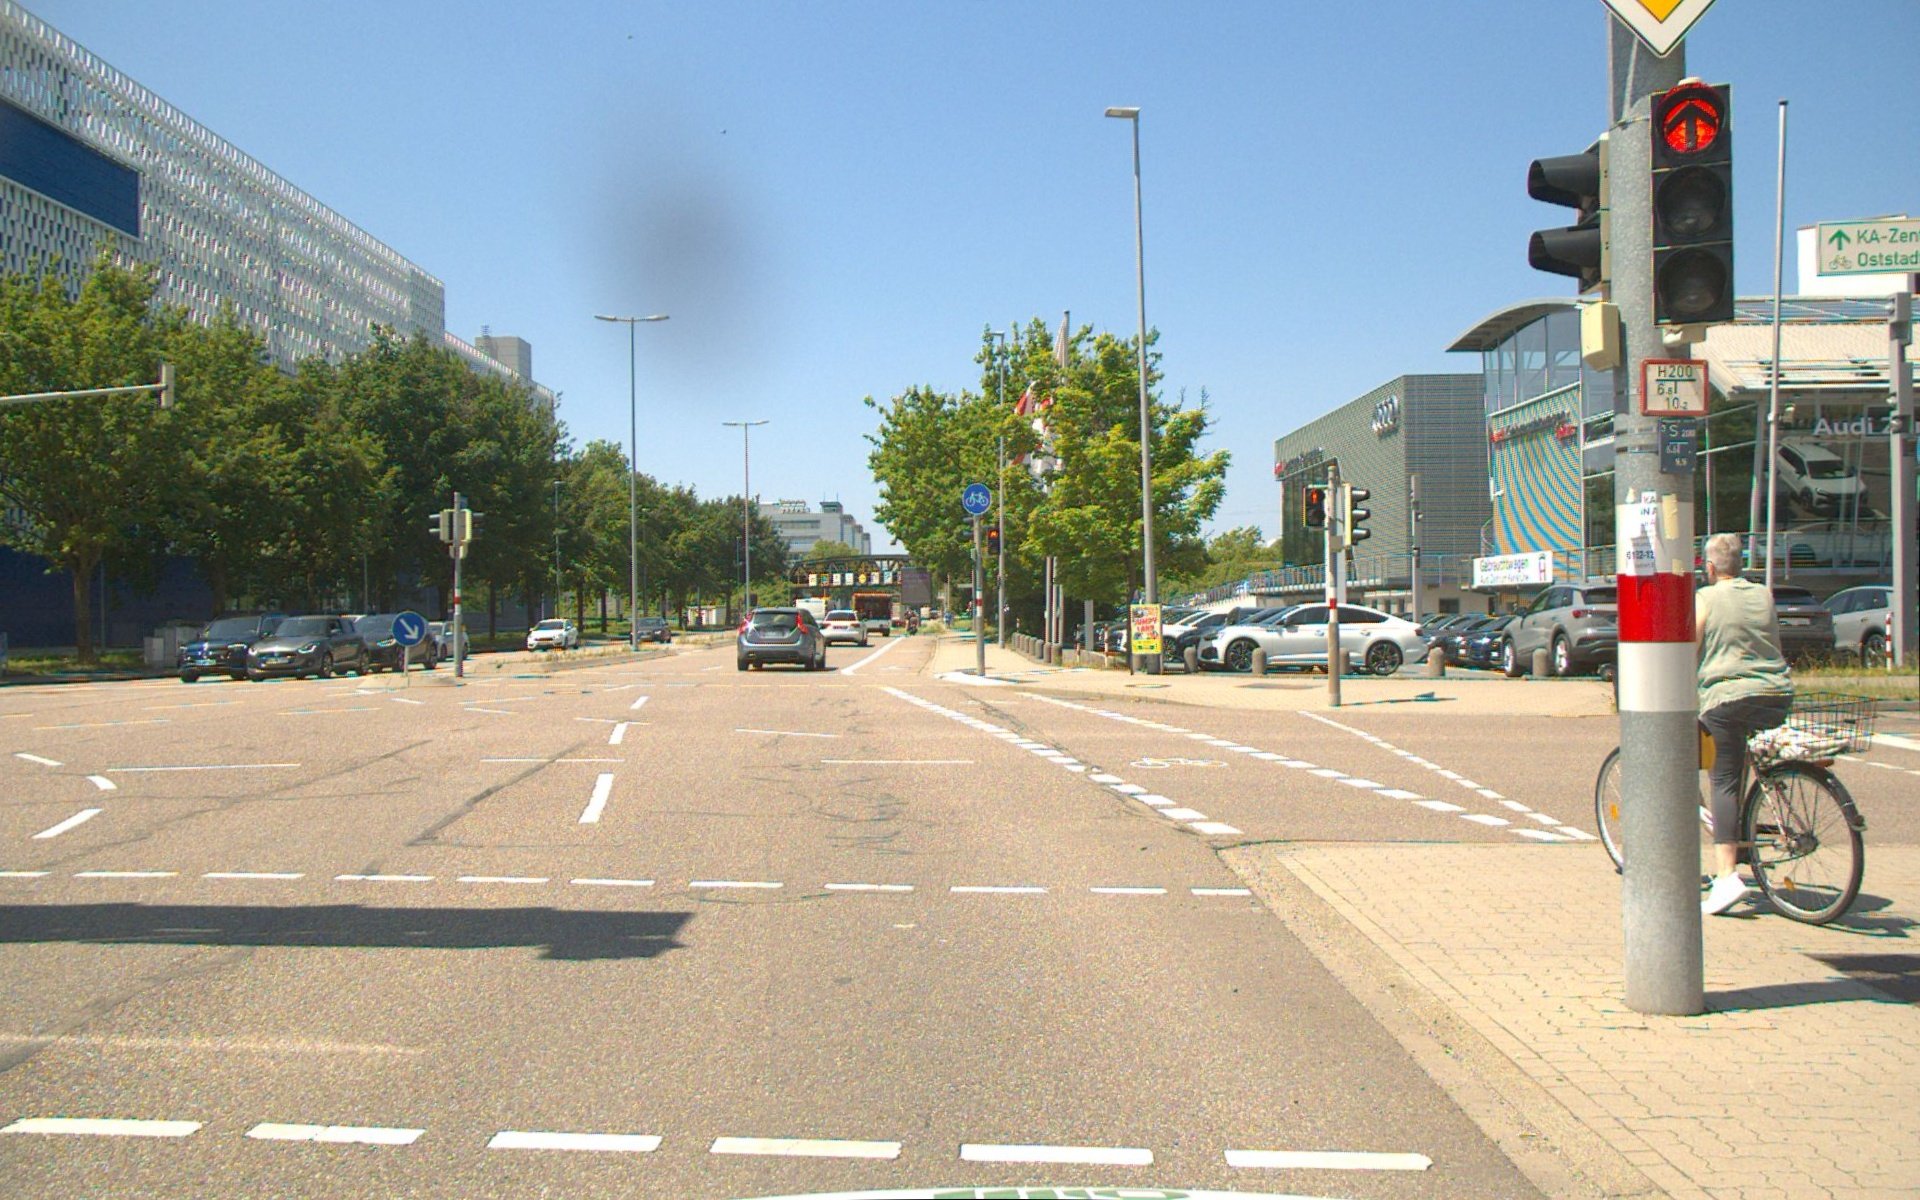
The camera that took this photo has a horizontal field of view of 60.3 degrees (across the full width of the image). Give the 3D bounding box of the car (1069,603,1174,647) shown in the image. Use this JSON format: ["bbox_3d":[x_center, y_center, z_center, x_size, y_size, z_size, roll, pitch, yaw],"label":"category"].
[{"bbox_3d":[5.854,0.907,60.366,3.607,1.479,1.833,2,-1,-1],"label":"car"}]

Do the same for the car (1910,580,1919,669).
[{"bbox_3d":[18.688,0.479,29.038,1.604,1.644,3.814,0,1,-5],"label":"car"}]

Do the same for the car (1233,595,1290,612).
[{"bbox_3d":[21.337,0.231,117.008,3.652,1.150,1.682,1,-1,-5],"label":"car"}]

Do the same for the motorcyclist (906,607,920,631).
[{"bbox_3d":[-3.012,1.233,106.065,0.706,1.556,0.868,1,-1,-11],"label":"motorcyclist"}]

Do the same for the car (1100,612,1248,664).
[{"bbox_3d":[6.335,1.121,49.271,4.140,1.415,1.868,2,-1,-1],"label":"car"}]

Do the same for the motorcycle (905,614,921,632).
[{"bbox_3d":[-3.011,1.450,106.060,0.703,1.124,1.825,1,-1,-10],"label":"motorcycle"}]

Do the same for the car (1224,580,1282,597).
[{"bbox_3d":[21.399,-0.840,120.747,3.862,1.232,1.715,0,-1,-5],"label":"car"}]

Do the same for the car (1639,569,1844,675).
[{"bbox_3d":[13.618,0.377,29.076,1.806,1.683,3.999,2,-1,2],"label":"car"}]

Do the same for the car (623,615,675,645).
[{"bbox_3d":[-16.460,1.562,87.794,1.691,1.471,4.720,-3,-1,2],"label":"car"}]

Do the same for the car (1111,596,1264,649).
[{"bbox_3d":[6.363,0.627,46.587,4.016,1.372,1.868,2,-1,-1],"label":"car"}]

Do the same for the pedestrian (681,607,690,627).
[{"bbox_3d":[-25.777,1.599,155.160,0.728,1.917,0.577,-1,-1,0],"label":"pedestrian"}]

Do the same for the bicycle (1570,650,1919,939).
[{"bbox_3d":[3.722,0.862,8.032,0.616,1.153,1.892,0,1,-7],"label":"bicycle"}]

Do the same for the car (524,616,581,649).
[{"bbox_3d":[-19.250,1.531,78.240,1.708,1.512,3.999,-2,-1,-1],"label":"car"}]

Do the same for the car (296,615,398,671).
[{"bbox_3d":[-18.597,1.287,50.337,1.691,1.571,3.914,-2,-1,-1],"label":"car"}]

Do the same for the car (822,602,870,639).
[{"bbox_3d":[-4.556,0.800,66.578,1.708,1.420,3.528,-1,0,-1],"label":"car"}]

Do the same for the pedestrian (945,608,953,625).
[{"bbox_3d":[-0.922,1.335,133.970,0.611,1.399,0.564,-1,-1,-3],"label":"pedestrian"}]

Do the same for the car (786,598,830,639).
[{"bbox_3d":[-7.847,0.936,85.627,1.953,2.049,3.998,-1,0,-2],"label":"car"}]

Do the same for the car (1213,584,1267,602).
[{"bbox_3d":[21.958,-0.555,129.757,3.909,1.335,1.795,1,-1,-5],"label":"car"}]

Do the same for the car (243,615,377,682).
[{"bbox_3d":[-15.088,1.112,38.588,1.610,1.413,3.715,-3,-1,0],"label":"car"}]

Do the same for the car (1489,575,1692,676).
[{"bbox_3d":[11.006,0.478,29.245,1.830,1.586,4.503,-2,-2,0],"label":"car"}]

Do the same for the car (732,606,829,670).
[{"bbox_3d":[-4.220,0.878,39.403,1.862,1.400,4.231,-1,0,-1],"label":"car"}]

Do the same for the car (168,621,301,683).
[{"bbox_3d":[-18.337,1.286,41.981,1.627,1.449,4.037,-2,-1,-1],"label":"car"}]

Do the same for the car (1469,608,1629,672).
[{"bbox_3d":[16.542,1.119,46.552,3.904,1.650,1.656,2,-1,-1],"label":"car"}]

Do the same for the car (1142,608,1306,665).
[{"bbox_3d":[6.957,0.953,43.797,4.013,1.388,1.874,2,-1,-1],"label":"car"}]

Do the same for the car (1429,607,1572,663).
[{"bbox_3d":[16.809,1.082,51.551,3.901,1.601,1.633,2,-1,-1],"label":"car"}]

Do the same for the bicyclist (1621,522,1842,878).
[{"bbox_3d":[3.725,0.464,8.040,0.616,1.634,0.824,1,-1,-8],"label":"bicyclist"}]

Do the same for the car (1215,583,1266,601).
[{"bbox_3d":[21.203,-0.611,124.966,3.455,1.261,1.675,1,-1,-5],"label":"car"}]

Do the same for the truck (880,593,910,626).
[{"bbox_3d":[-5.903,0.874,151.485,2.562,2.900,5.613,1,0,-1],"label":"truck"}]

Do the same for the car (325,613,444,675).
[{"bbox_3d":[-15.485,1.170,44.753,1.691,1.531,4.243,-3,-1,0],"label":"car"}]

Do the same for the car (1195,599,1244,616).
[{"bbox_3d":[22.309,0.666,142.225,3.909,1.335,1.795,-1,-1,-5],"label":"car"}]

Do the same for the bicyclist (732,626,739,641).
[{"bbox_3d":[-23.317,3.471,171.939,0.624,1.610,0.884,-1,-1,-3],"label":"bicyclist"}]

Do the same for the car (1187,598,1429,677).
[{"bbox_3d":[6.944,0.748,33.350,4.497,1.415,1.869,2,-1,1],"label":"car"}]

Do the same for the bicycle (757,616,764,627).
[{"bbox_3d":[-23.163,2.518,192.243,0.616,1.179,2.116,-3,0,-2],"label":"bicycle"}]

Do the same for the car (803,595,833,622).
[{"bbox_3d":[-11.005,0.659,128.378,1.953,2.049,4.811,1,0,-1],"label":"car"}]

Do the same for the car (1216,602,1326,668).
[{"bbox_3d":[7.413,0.817,39.786,1.824,1.444,4.663,2,-1,1],"label":"car"}]

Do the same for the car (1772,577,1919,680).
[{"bbox_3d":[16.387,0.505,29.253,1.808,1.683,3.994,2,-1,-5],"label":"car"}]

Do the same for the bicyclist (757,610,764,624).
[{"bbox_3d":[-23.183,1.976,192.192,0.621,1.657,1.044,-3,-1,-2],"label":"bicyclist"}]

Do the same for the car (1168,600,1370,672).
[{"bbox_3d":[6.671,0.769,36.000,4.013,1.415,1.868,2,-1,-1],"label":"car"}]

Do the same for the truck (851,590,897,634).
[{"bbox_3d":[-5.007,0.703,97.418,2.408,2.452,7.132,1,0,-1],"label":"truck"}]

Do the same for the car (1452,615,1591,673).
[{"bbox_3d":[16.761,1.313,49.429,3.573,1.608,1.642,2,-1,-1],"label":"car"}]

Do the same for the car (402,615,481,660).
[{"bbox_3d":[-18.537,1.327,59.284,1.616,1.512,3.914,-2,-1,-1],"label":"car"}]

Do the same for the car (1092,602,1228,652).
[{"bbox_3d":[6.281,0.843,52.268,4.017,1.429,1.868,2,-1,-1],"label":"car"}]
